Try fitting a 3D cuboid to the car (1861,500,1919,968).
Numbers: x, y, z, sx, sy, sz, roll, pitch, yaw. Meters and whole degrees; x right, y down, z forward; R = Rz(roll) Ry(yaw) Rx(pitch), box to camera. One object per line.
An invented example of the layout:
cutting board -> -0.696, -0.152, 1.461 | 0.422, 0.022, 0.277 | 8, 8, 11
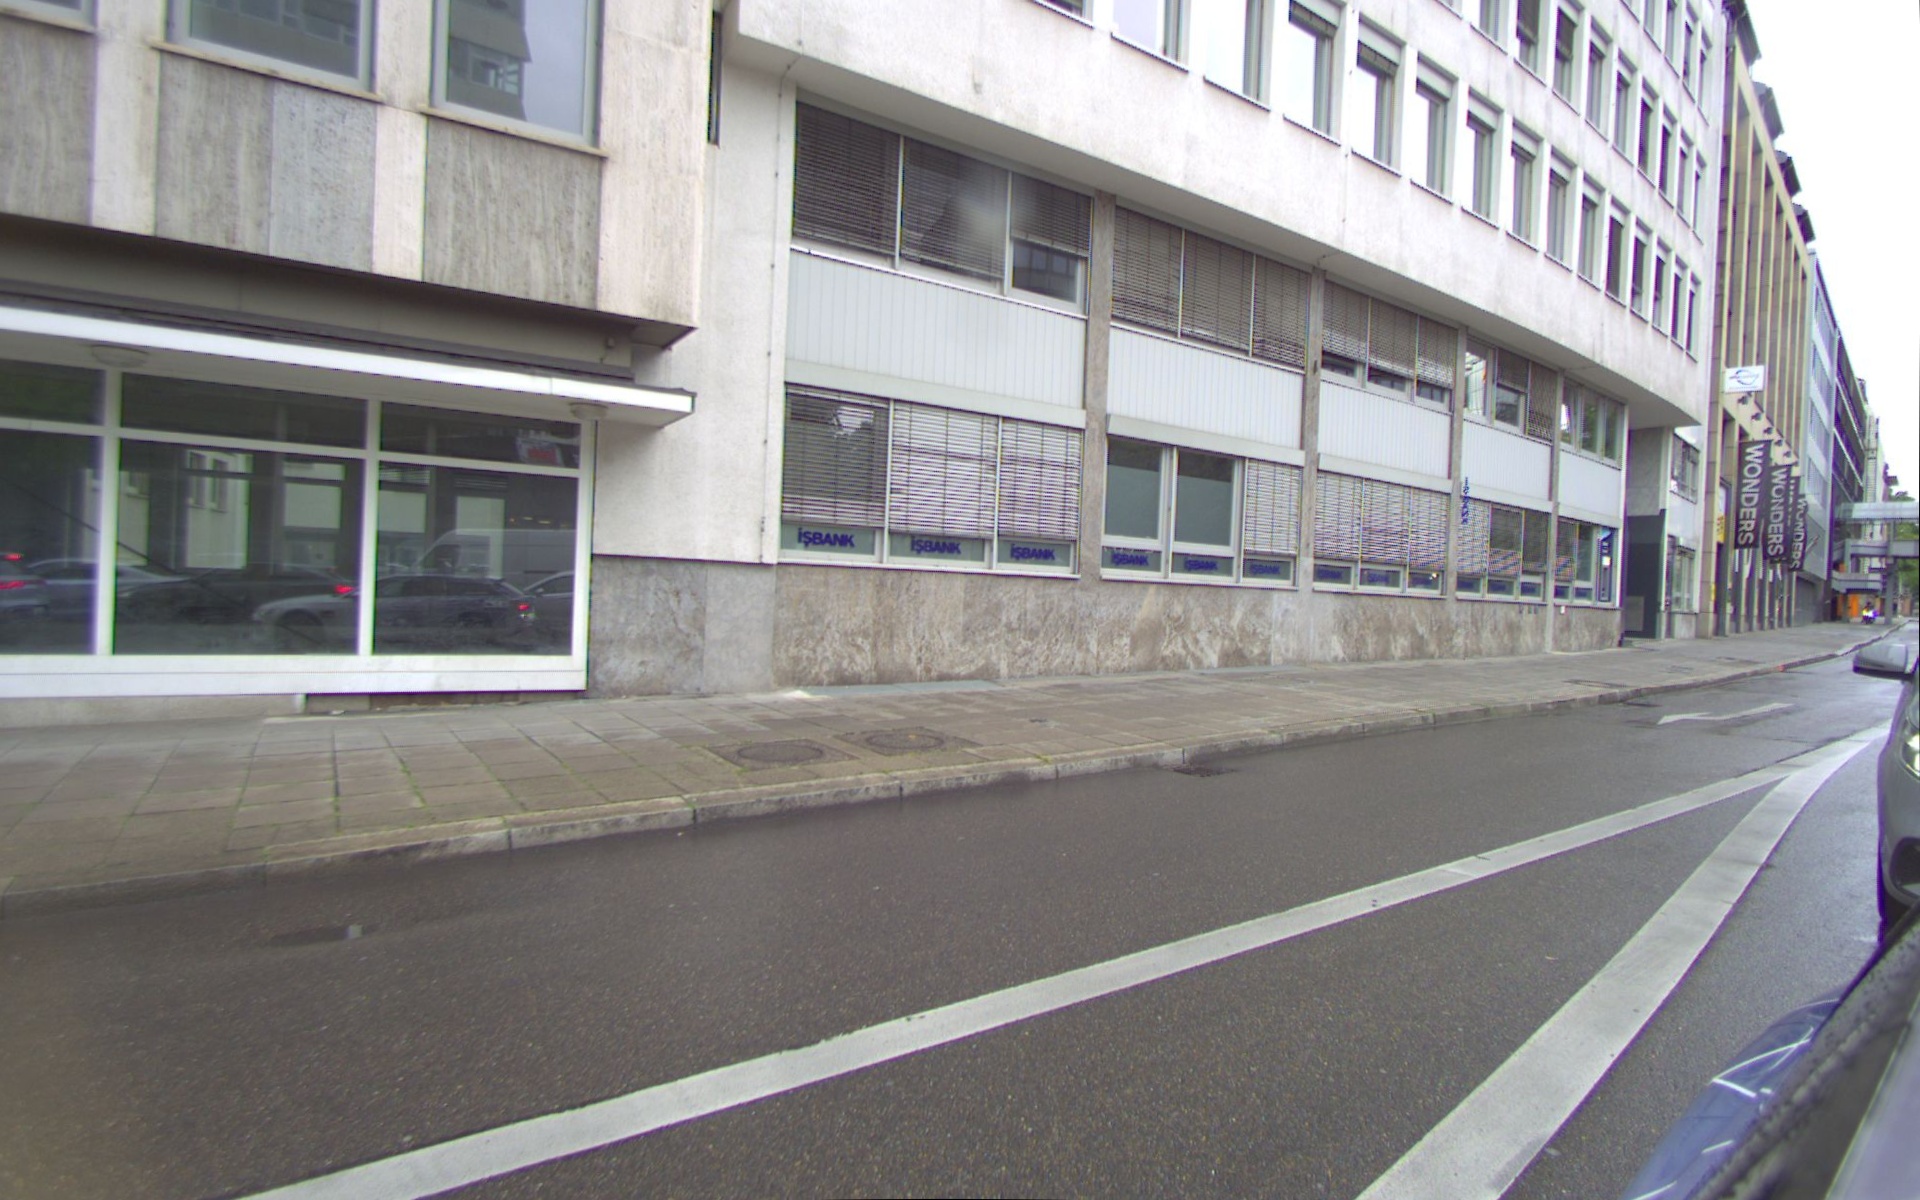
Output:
car -> 6.205, 0.551, 5.148 | 4.940, 1.879, 1.914 | 0, 0, -42
